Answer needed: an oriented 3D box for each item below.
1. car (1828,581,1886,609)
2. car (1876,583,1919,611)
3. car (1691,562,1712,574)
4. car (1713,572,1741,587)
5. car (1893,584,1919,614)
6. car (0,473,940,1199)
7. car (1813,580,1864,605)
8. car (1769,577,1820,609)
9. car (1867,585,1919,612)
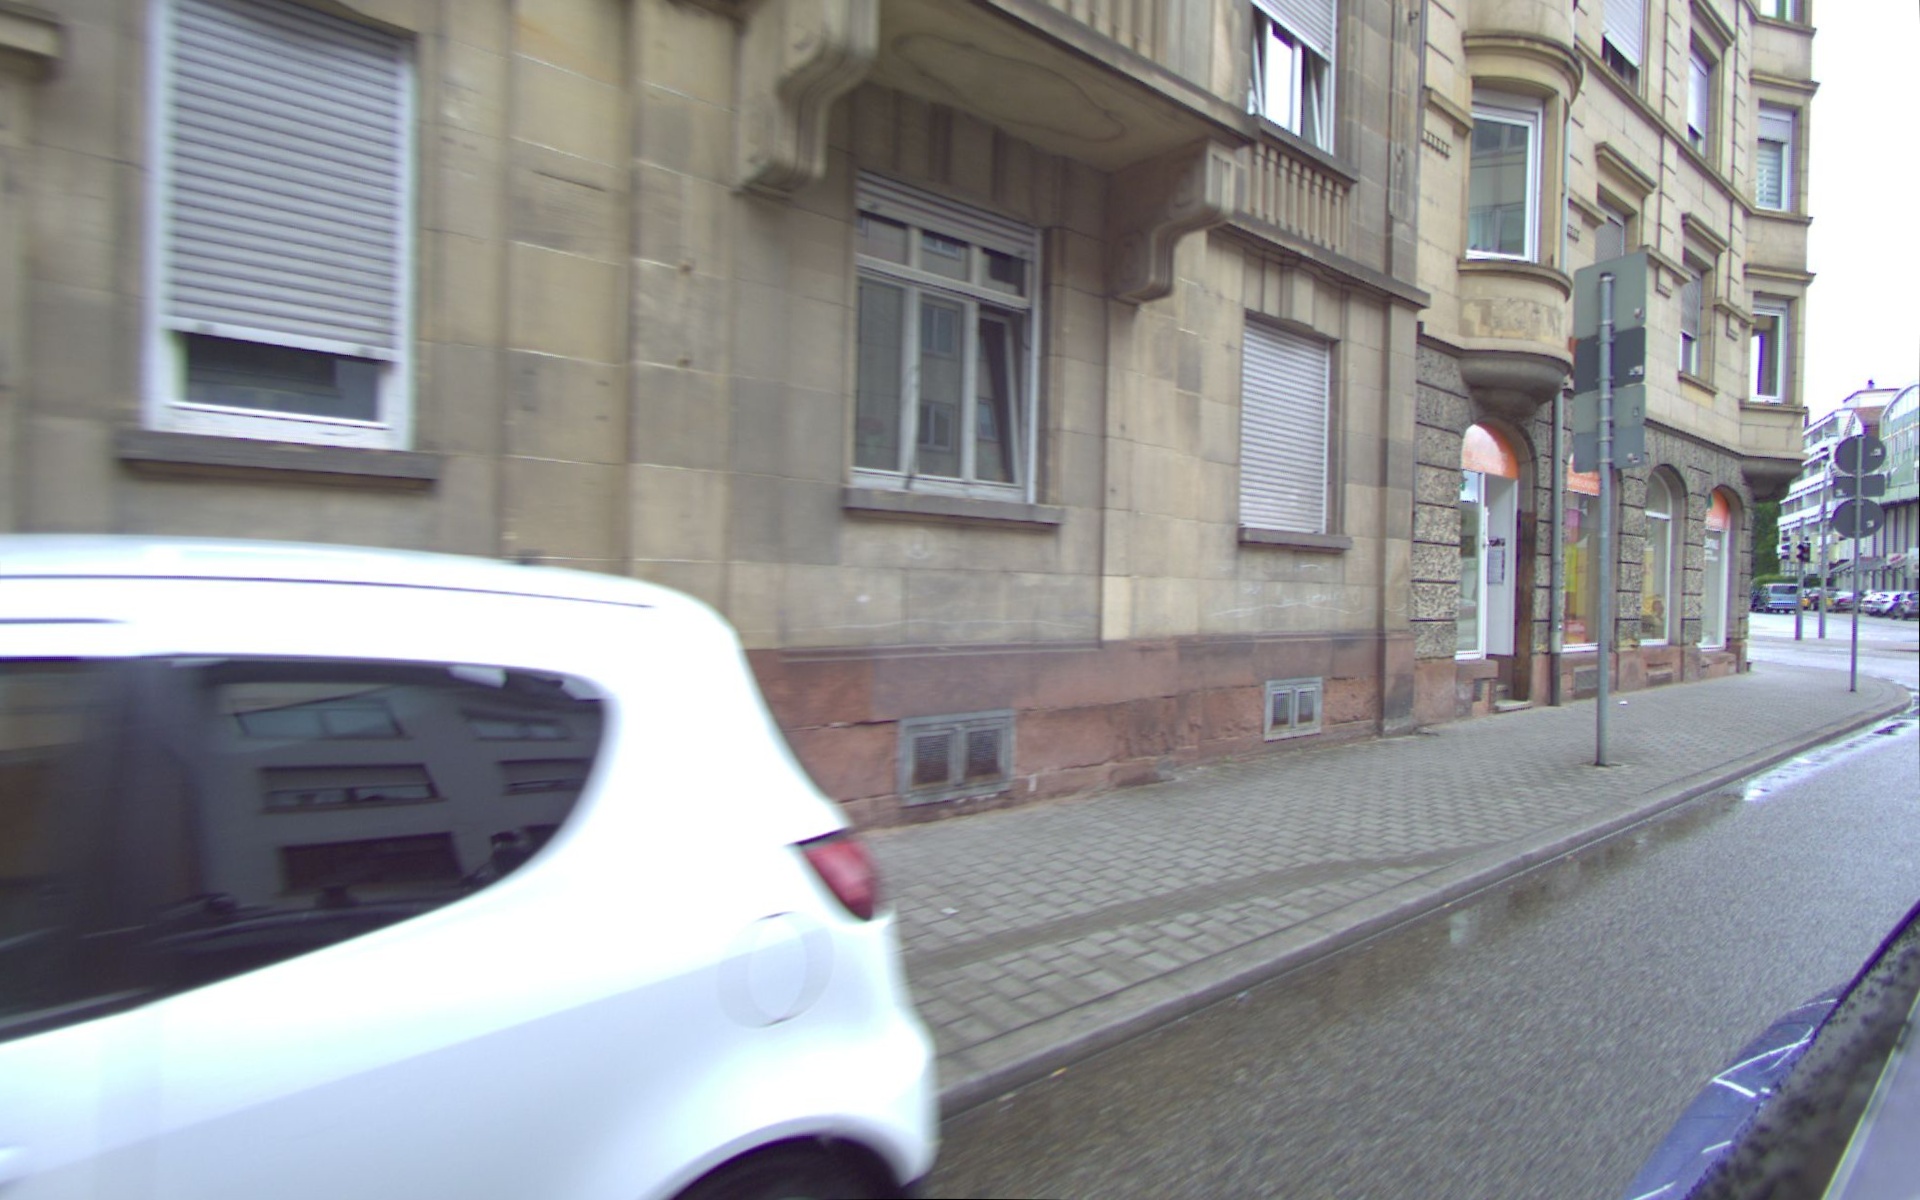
[{"bbox_3d":[57.653,-0.343,65.128,1.983,1.605,3.956,-5,-1,31],"label":"car"},{"bbox_3d":[54.347,-0.141,56.787,3.966,1.526,1.979,2,2,30],"label":"car"},{"bbox_3d":[102.648,-4.444,140.142,1.984,1.604,4.608,2,2,31],"label":"car"},{"bbox_3d":[85.444,-2.299,112.743,1.984,1.604,4.608,2,2,31],"label":"car"},{"bbox_3d":[51.703,-0.054,54.017,1.985,1.526,3.956,2,2,31],"label":"car"},{"bbox_3d":[-2.271,0.608,1.135,4.366,1.512,1.652,-1,2,-37],"label":"car"},{"bbox_3d":[60.655,-0.539,69.937,1.984,1.604,3.956,2,2,31],"label":"car"},{"bbox_3d":[54.822,-0.501,66.547,1.984,1.938,3.956,2,2,31],"label":"car"},{"bbox_3d":[55.674,-0.086,58.879,3.966,1.526,1.979,2,2,30],"label":"car"}]
